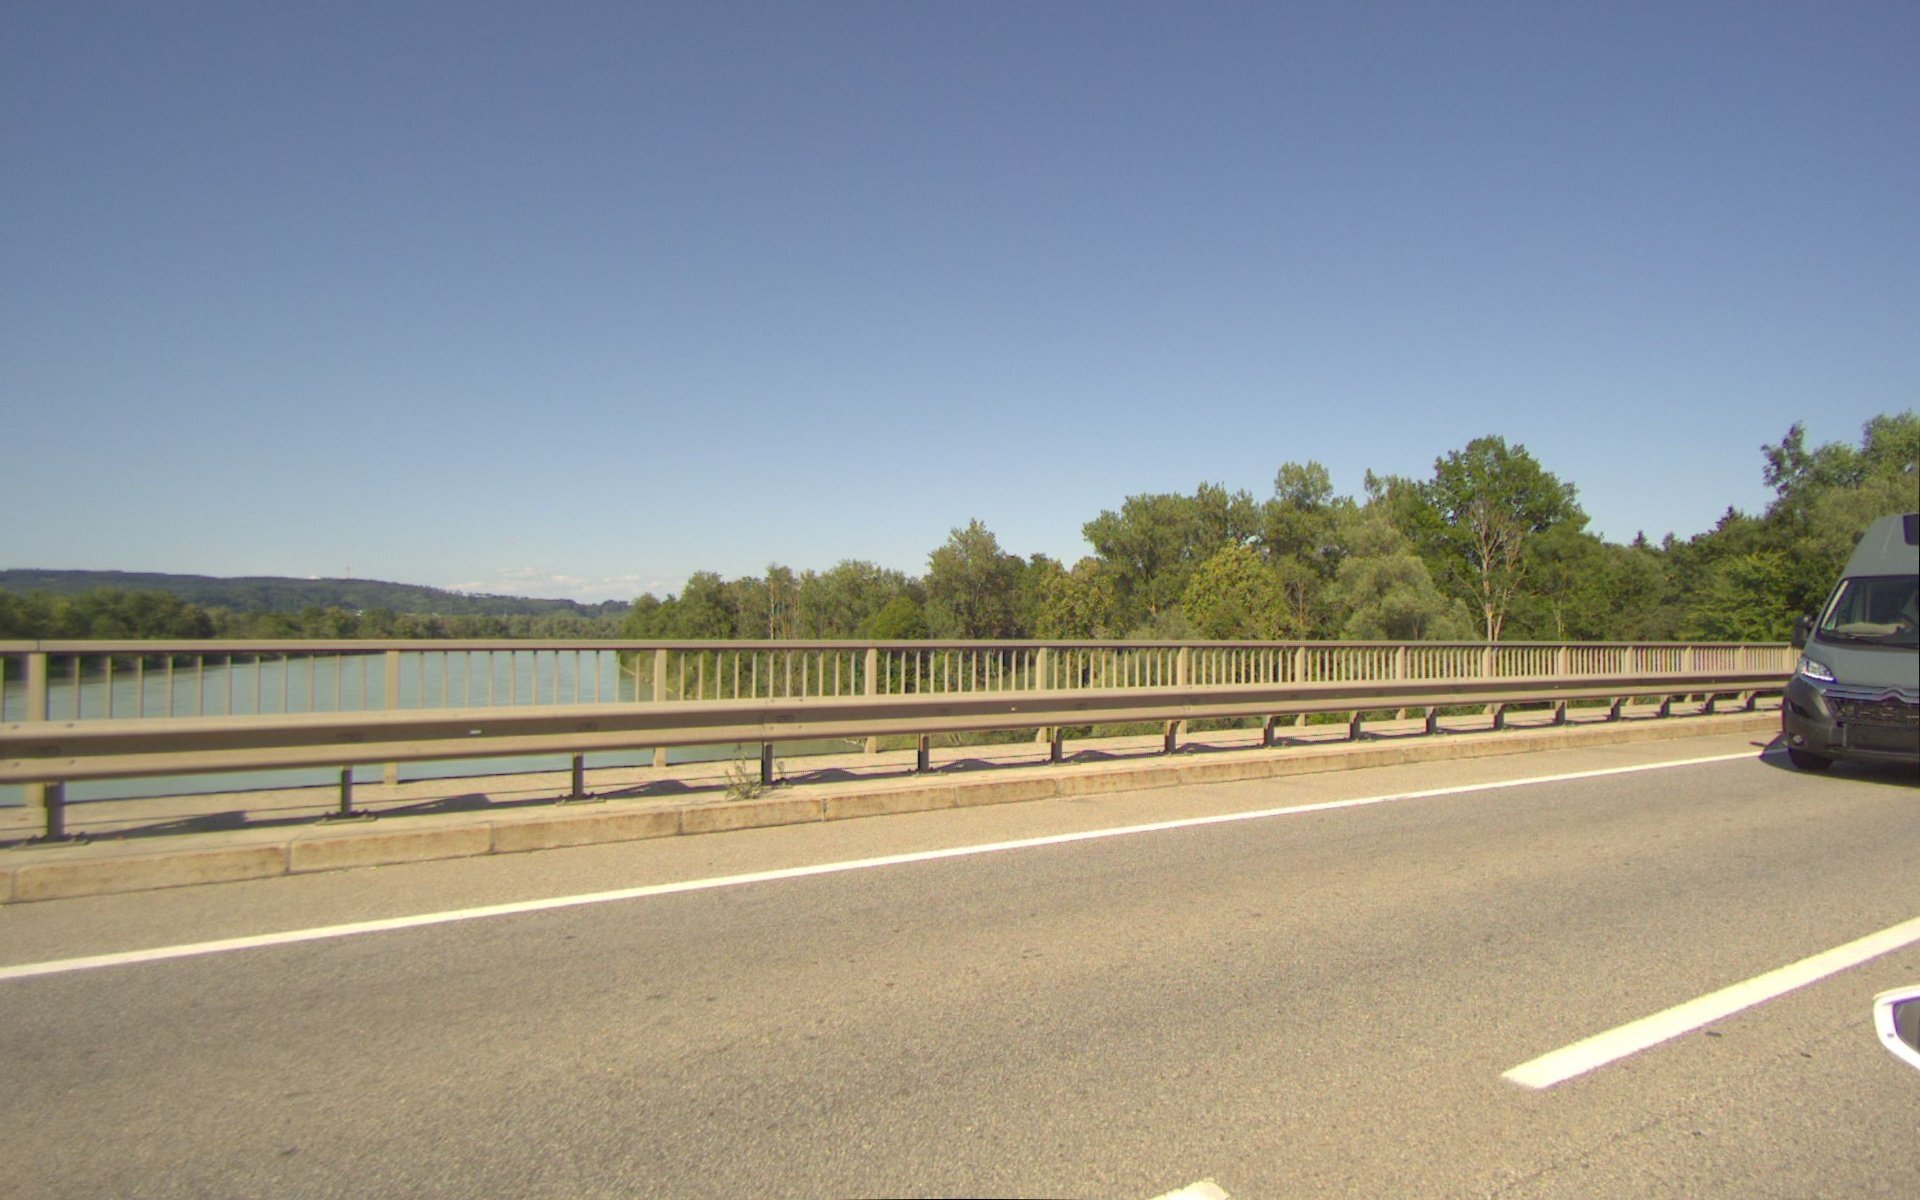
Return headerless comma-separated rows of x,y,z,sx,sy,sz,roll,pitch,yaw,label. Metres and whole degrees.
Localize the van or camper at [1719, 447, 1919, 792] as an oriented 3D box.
11.315,0.241,11.072,6.737,3.091,2.304,1,0,-31,van or camper
